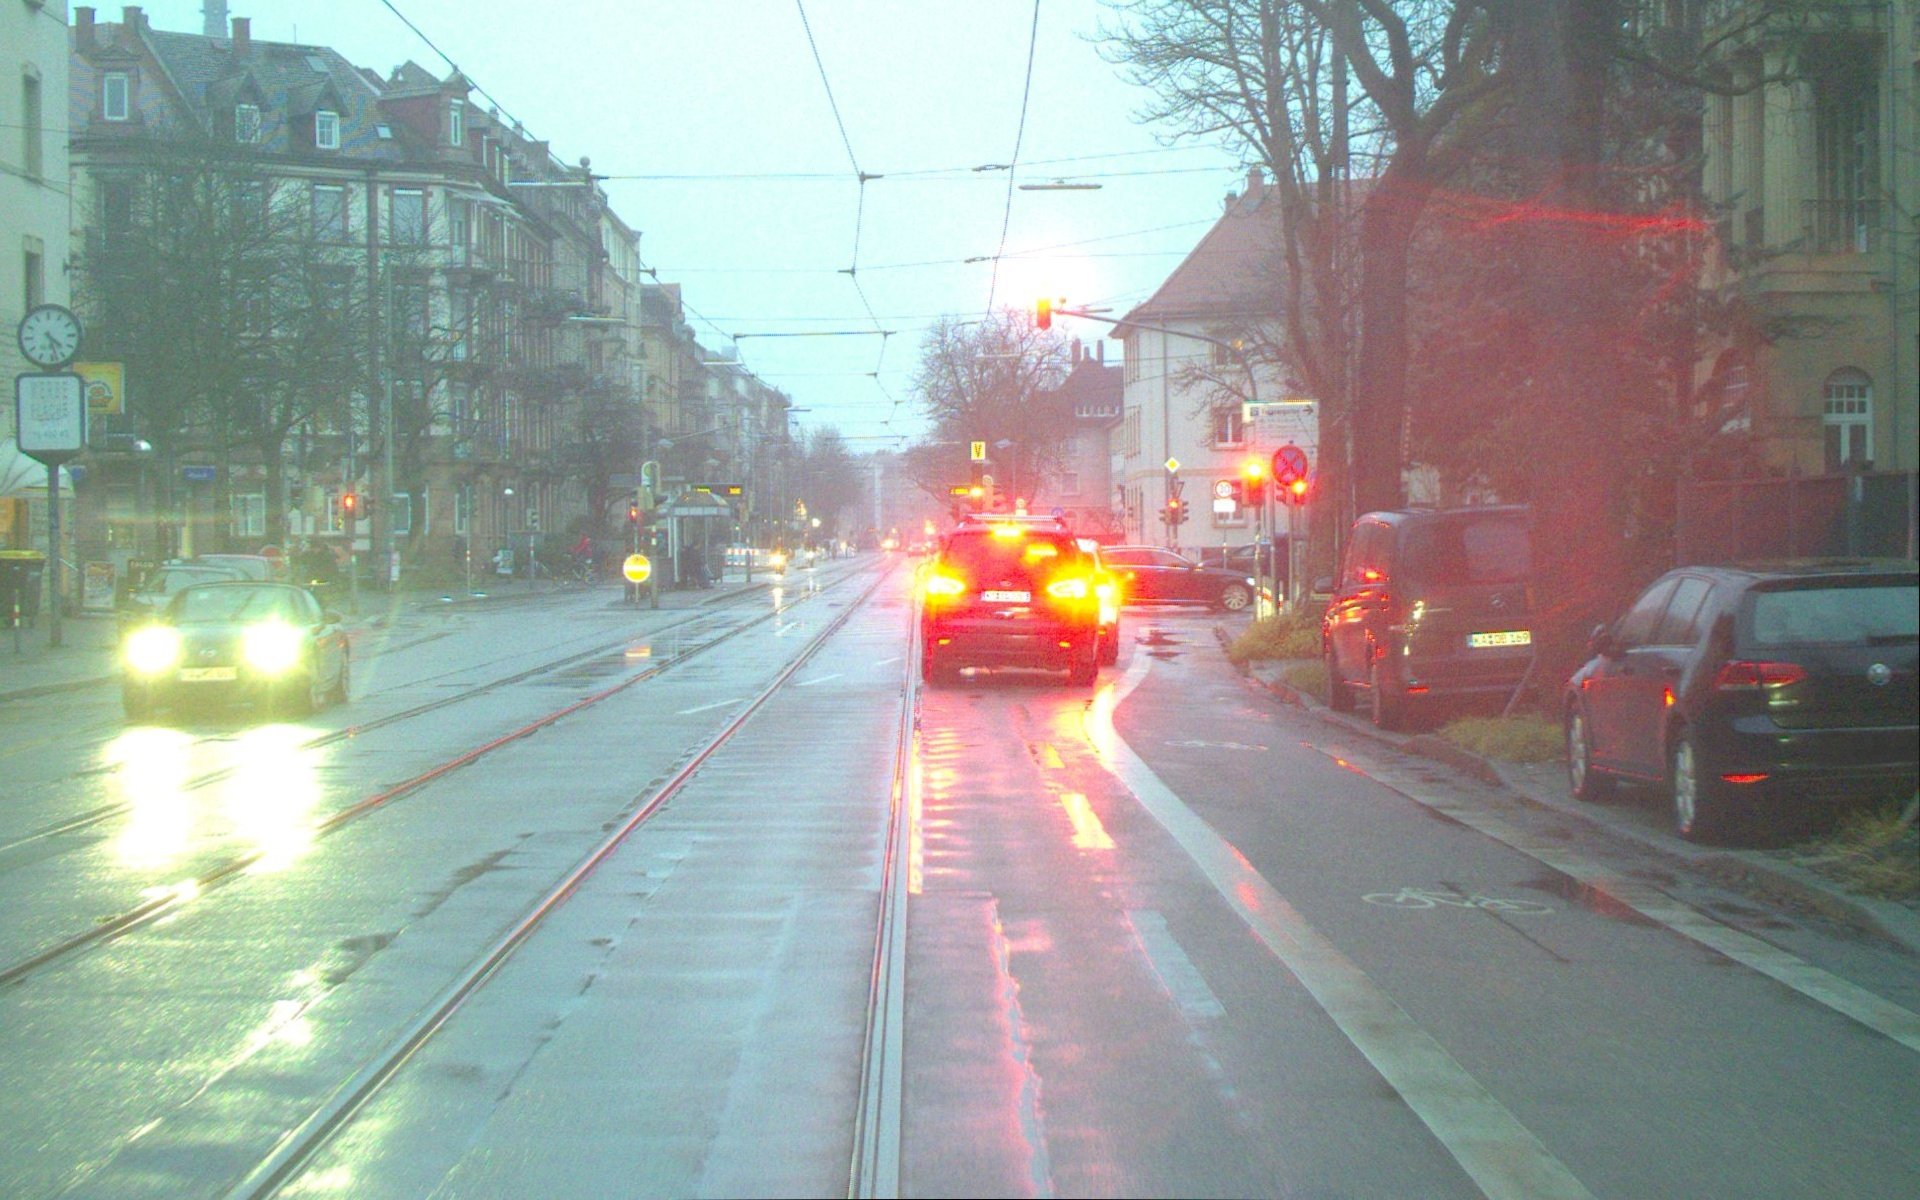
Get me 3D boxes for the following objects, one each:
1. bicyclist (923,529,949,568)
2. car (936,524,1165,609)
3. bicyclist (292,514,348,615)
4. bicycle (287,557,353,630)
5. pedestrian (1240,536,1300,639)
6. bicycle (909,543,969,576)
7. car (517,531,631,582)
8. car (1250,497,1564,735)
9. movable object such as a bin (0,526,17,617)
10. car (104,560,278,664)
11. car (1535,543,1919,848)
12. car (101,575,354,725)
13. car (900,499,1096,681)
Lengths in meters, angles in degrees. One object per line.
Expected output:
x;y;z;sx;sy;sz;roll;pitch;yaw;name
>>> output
-0.872;-1.883;125.625;0.822;1.371;0.557;-2;2;-14;bicyclist
1.961;-0.744;75.263;4.945;1.711;1.698;-1;2;0;car
-10.339;-0.584;55.559;0.716;1.597;0.931;-1;2;-2;bicyclist
-10.324;-0.113;55.509;0.716;1.106;2.065;-1;2;-2;bicycle
6.188;-0.263;68.617;1.022;2.006;0.919;-1;2;-4;pedestrian
-0.762;-1.474;125.661;2.103;1.129;0.557;-2;2;-14;bicycle
-13.925;-1.587;123.894;3.986;1.711;1.904;-1;2;-9;car
3.871;0.054;30.664;1.993;1.894;5.028;-1;2;-1;car
-17.543;-0.503;61.444;1.014;1.595;1.081;-1;2;2;movable object such as a bin
-11.963;0.162;53.728;1.833;1.442;4.001;-1;2;-1;car
4.441;0.443;19.151;1.677;1.455;4.043;-1;1;-1;car
-6.808;0.423;32.286;1.660;1.194;3.875;-1;2;-2;car
0.357;-0.110;38.300;1.993;1.890;4.759;0;0;-1;car
